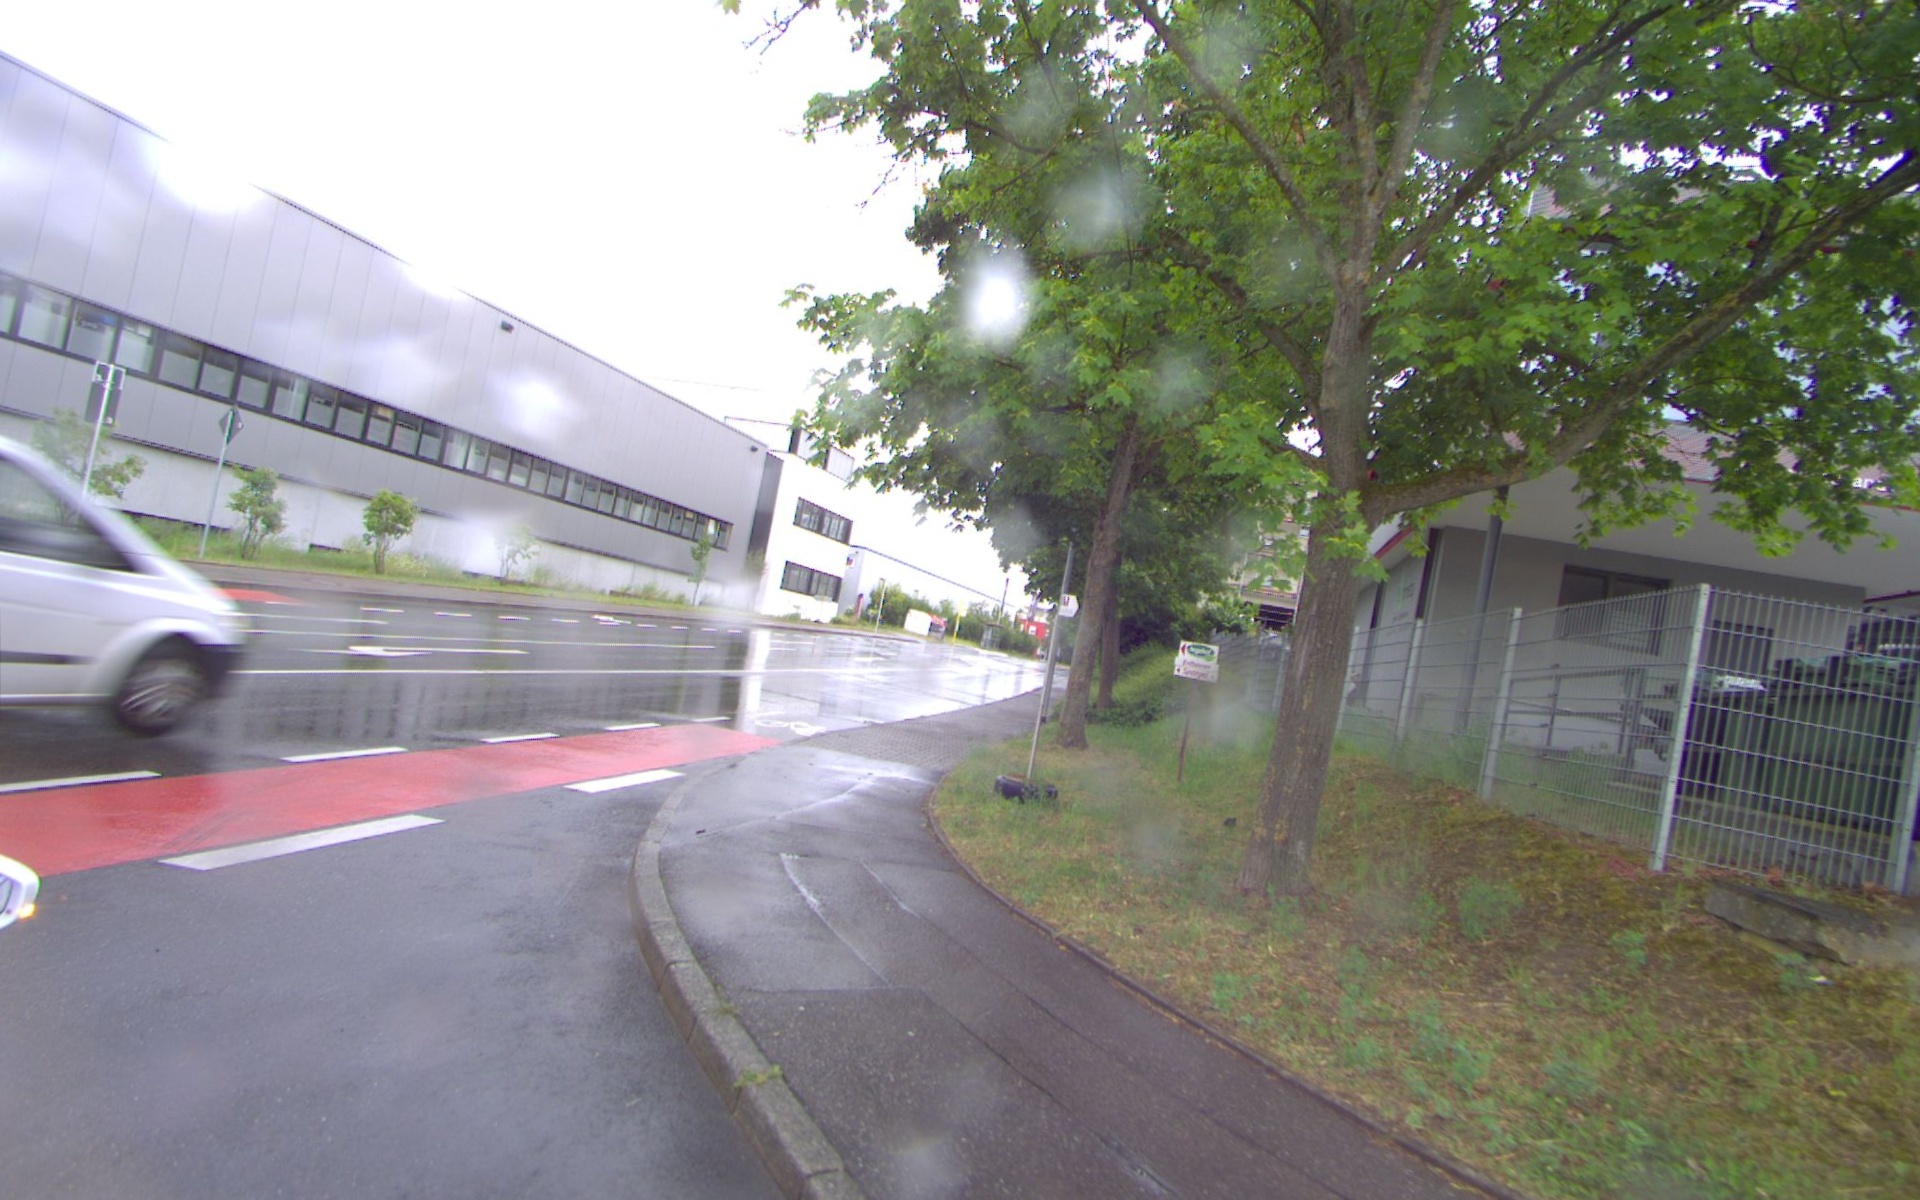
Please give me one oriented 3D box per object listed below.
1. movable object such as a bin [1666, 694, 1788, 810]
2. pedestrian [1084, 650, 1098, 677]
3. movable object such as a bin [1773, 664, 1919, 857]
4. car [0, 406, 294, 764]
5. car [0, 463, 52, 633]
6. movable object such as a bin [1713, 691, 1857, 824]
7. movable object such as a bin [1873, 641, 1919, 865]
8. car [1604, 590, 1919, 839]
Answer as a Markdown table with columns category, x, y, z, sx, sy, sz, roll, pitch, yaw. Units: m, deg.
| category | x | y | z | sx | sy | sz | roll | pitch | yaw |
| --- | --- | --- | --- | --- | --- | --- | --- | --- | --- |
| movable object such as a bin | 6.170 | 1.211 | 8.117 | 0.529 | 0.811 | 0.524 | 8 | -1 | 12 |
| pedestrian | 9.862 | 4.778 | 75.629 | 0.764 | 1.928 | 0.730 | 8 | -2 | 11 |
| movable object such as a bin | 5.773 | 0.981 | 6.085 | 0.867 | 1.054 | 1.054 | 8 | -1 | 14 |
| car | -6.562 | -0.258 | 5.072 | 1.869 | 2.041 | 5.380 | 8 | -2 | 12 |
| car | -12.252 | -0.944 | 8.278 | 2.317 | 1.836 | 6.887 | 9 | -2 | 12 |
| movable object such as a bin | 5.956 | 1.119 | 7.289 | 0.529 | 0.827 | 0.567 | 8 | -1 | 12 |
| movable object such as a bin | 5.498 | 0.845 | 4.903 | 1.007 | 1.175 | 1.144 | 8 | -1 | 12 |
| car | 9.654 | 1.316 | 10.024 | 4.844 | 2.037 | 2.066 | 8 | -1 | 11 |
